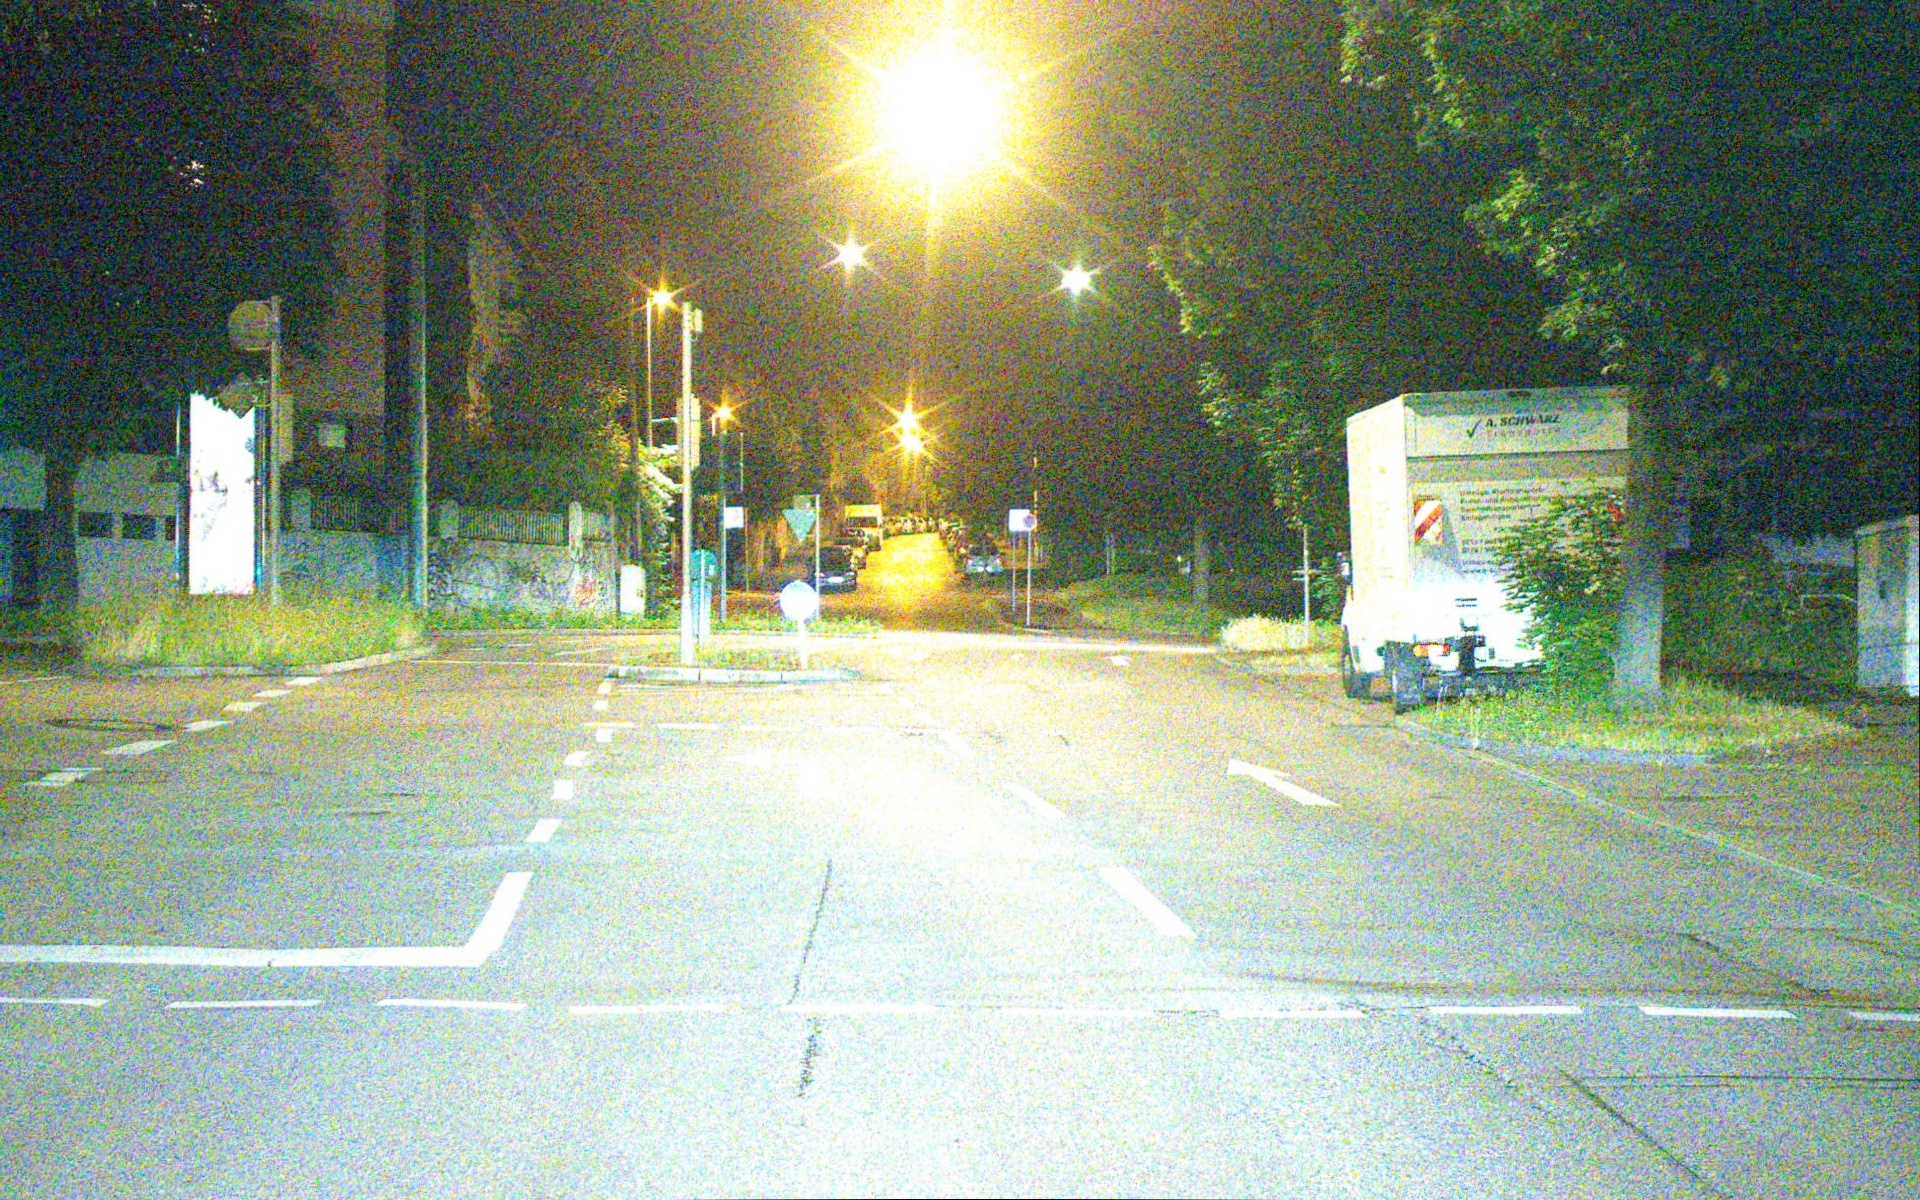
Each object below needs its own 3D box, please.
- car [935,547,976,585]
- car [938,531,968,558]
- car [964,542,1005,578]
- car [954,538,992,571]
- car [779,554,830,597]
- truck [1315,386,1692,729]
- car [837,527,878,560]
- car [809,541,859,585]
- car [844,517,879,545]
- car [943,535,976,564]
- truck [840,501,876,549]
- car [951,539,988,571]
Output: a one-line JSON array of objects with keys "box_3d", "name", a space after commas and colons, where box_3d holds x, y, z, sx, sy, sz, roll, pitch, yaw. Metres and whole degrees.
[{"box_3d": [-0.198, -1.375, 137.720, 1.593, 1.471, 3.654, 1, 1, -1], "name": "car"}, {"box_3d": [-0.386, -3.085, 191.479, 1.634, 1.447, 3.485, 1, 1, -1], "name": "car"}, {"box_3d": [1.020, -1.679, 143.357, 1.634, 1.447, 3.485, 1, 1, -1], "name": "car"}, {"box_3d": [0.581, -2.037, 153.089, 1.634, 1.447, 3.485, 1, 1, -1], "name": "car"}, {"box_3d": [-5.332, -0.853, 118.222, 1.634, 1.447, 3.485, 1, 1, -1], "name": "car"}, {"box_3d": [5.301, -0.441, 34.635, 2.749, 3.100, 6.258, 1, 1, 0], "name": "truck"}, {"box_3d": [-4.799, -2.618, 160.563, 1.815, 1.486, 4.000, 1, 1, -2], "name": "car"}, {"box_3d": [-4.905, -1.463, 134.442, 1.815, 1.678, 4.000, 1, 1, -1], "name": "car"}, {"box_3d": [-5.381, -3.740, 186.945, 1.815, 1.486, 4.000, 1, 1, -2], "name": "car"}, {"box_3d": [-0.028, -2.624, 178.512, 1.634, 1.447, 3.485, 1, 1, -1], "name": "car"}, {"box_3d": [-6.227, -4.547, 209.575, 2.086, 2.838, 5.832, 1, 1, -2], "name": "truck"}, {"box_3d": [0.444, -2.088, 159.274, 1.634, 1.447, 3.485, 1, 1, -1], "name": "car"}]
